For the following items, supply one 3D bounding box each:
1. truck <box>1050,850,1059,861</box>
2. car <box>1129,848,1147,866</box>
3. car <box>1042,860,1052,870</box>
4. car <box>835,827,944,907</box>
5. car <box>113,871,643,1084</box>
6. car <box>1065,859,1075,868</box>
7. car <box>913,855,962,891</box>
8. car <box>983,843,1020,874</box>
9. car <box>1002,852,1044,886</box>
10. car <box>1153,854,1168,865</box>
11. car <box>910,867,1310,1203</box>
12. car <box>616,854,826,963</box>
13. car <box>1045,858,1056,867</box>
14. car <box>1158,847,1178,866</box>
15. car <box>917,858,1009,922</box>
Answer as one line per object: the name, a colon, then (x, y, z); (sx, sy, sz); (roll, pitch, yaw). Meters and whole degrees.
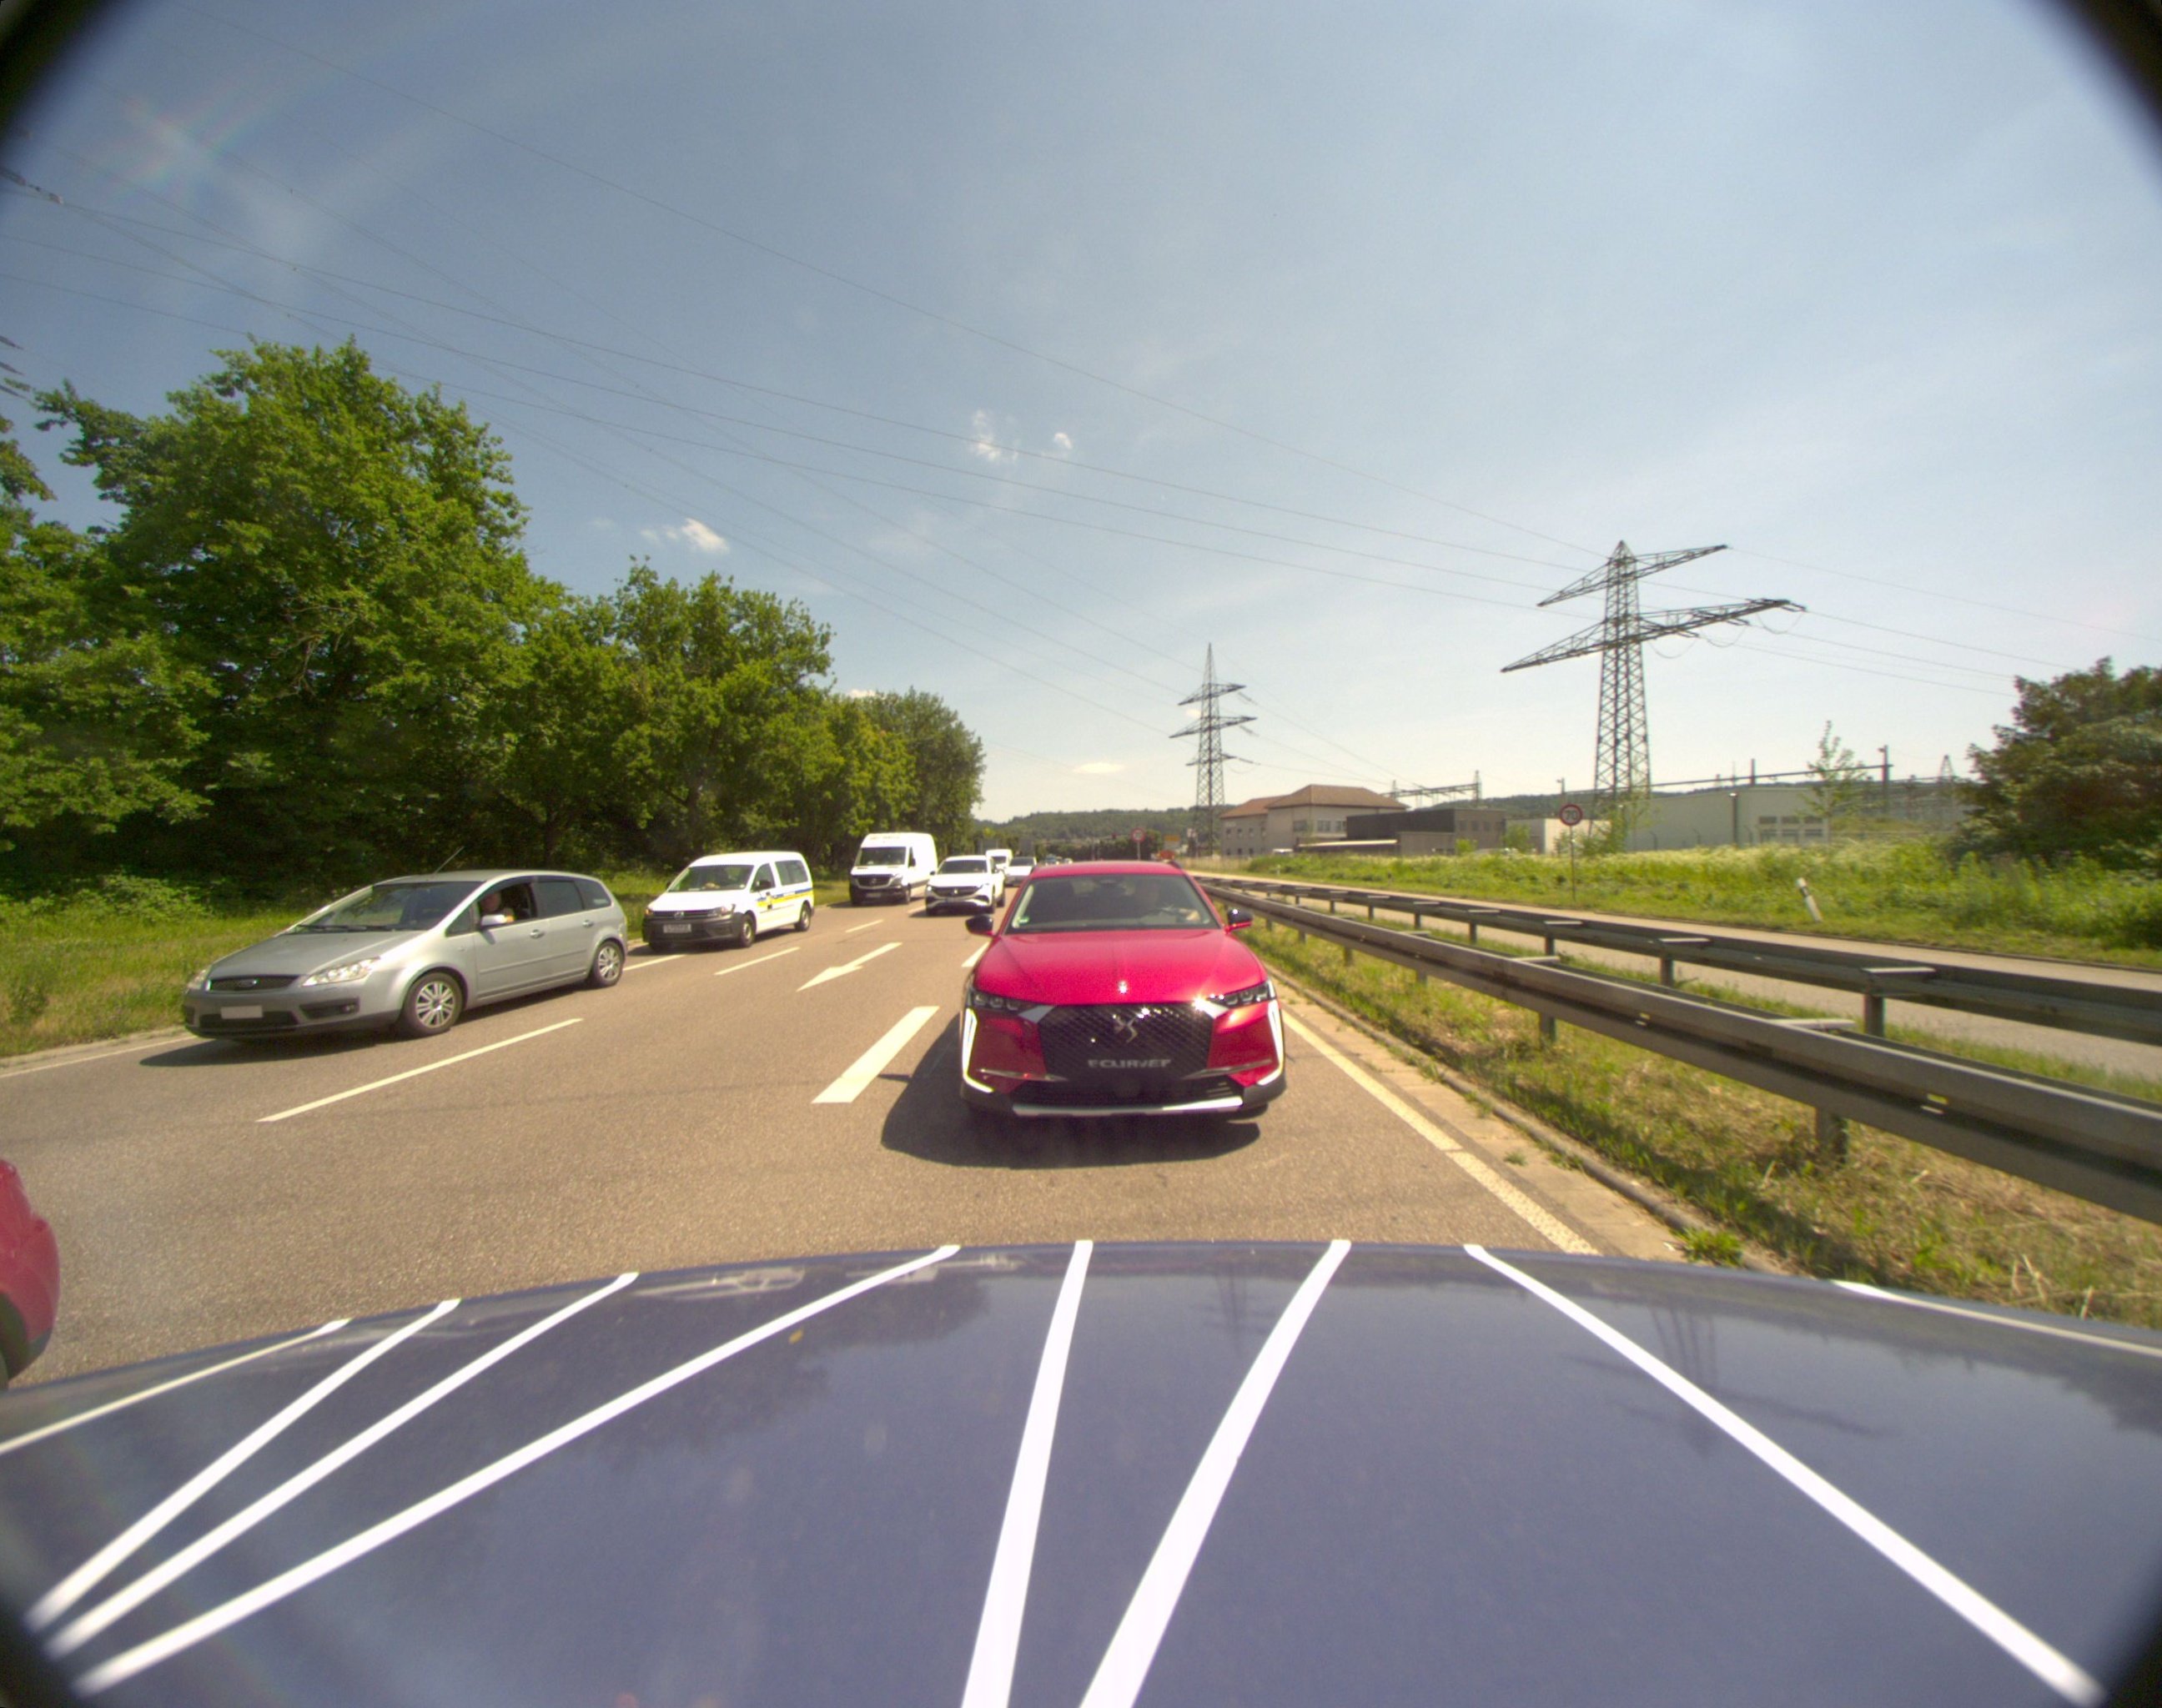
truck: (-6.240, 0.448, 179.959); (2.170, 2.428, 4.909); (-2, 1, -2)
car: (9.667, 0.464, 129.794); (2.607, 3.043, 5.638); (0, 0, 0)
car: (-6.351, 2.049, 142.792); (1.878, 1.674, 3.998); (-2, 1, -2)
car: (-7.022, 0.428, 28.827); (2.232, 2.592, 7.018); (-2, 0, 0)
car: (-6.970, 1.057, 8.337); (1.747, 1.585, 4.272); (-2, 0, 1)
car: (-2.264, 1.863, 151.923); (1.878, 1.674, 3.998); (-2, 1, -2)
car: (-7.491, 0.944, 39.986); (1.878, 1.674, 3.998); (-2, 1, -2)
car: (-6.647, 0.337, 64.414); (2.308, 2.408, 5.814); (-2, 0, 1)
car: (-3.132, 0.779, 41.831); (2.022, 1.671, 3.999); (-2, 0, -1)
car: (14.160, 1.002, 135.539); (1.999, 1.904, 3.998); (-2, 1, -3)
car: (0.166, 0.902, 5.814); (1.846, 1.453, 4.414); (-2, 0, 1)
car: (-6.984, 0.930, 15.469); (1.809, 1.790, 5.037); (-2, 0, 0)
car: (-6.468, 1.807, 161.783); (1.998, 1.808, 3.999); (-2, 1, 1)
car: (14.377, 0.414, 125.755); (2.607, 3.043, 5.638); (0, 0, 0)
car: (-3.250, 0.932, 21.810); (1.850, 1.559, 4.363); (-2, 0, 1)
